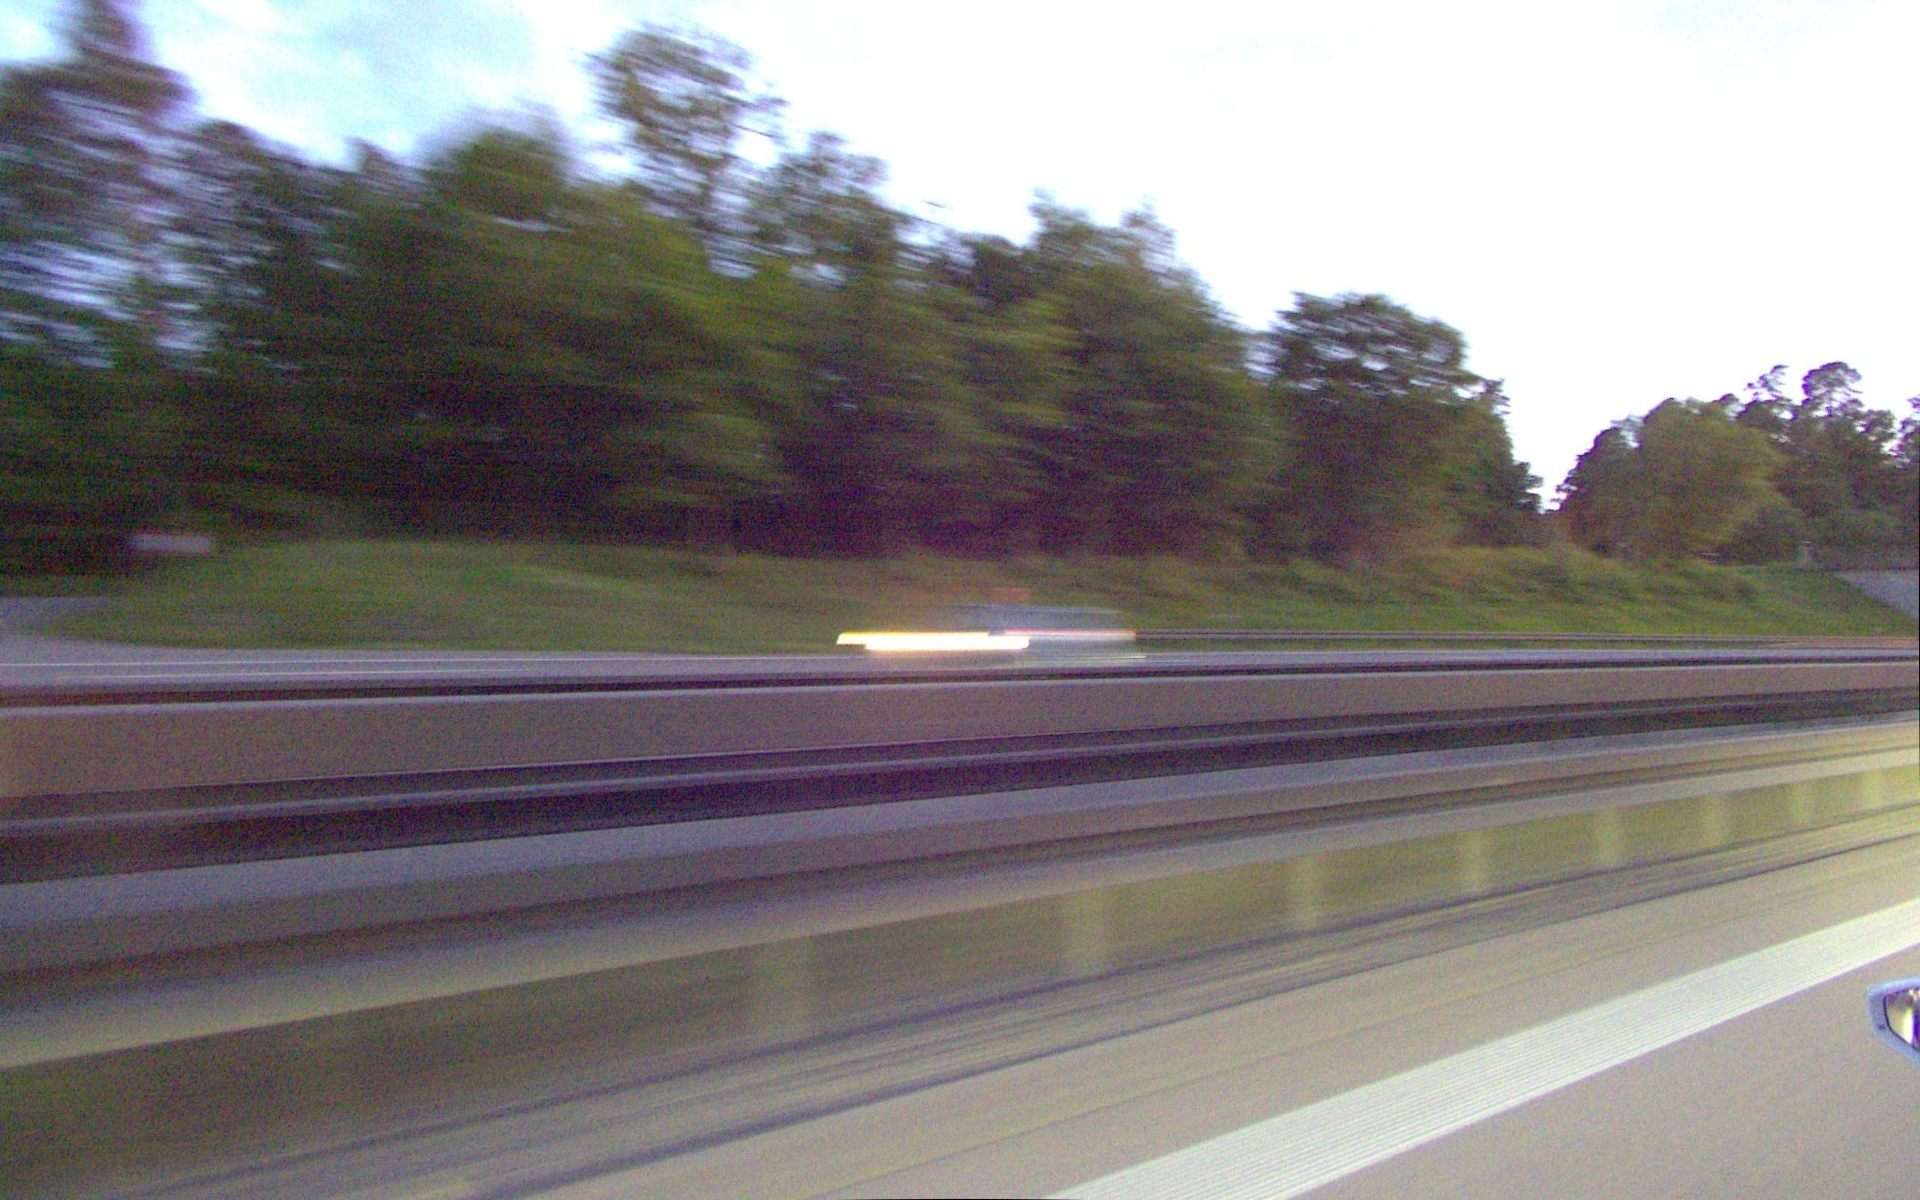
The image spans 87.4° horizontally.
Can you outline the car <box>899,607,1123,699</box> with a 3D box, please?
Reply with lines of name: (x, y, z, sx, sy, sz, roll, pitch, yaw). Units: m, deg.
car: (0.914, 0.897, 17.826, 3.558, 1.474, 1.834, 1, 0, -29)
